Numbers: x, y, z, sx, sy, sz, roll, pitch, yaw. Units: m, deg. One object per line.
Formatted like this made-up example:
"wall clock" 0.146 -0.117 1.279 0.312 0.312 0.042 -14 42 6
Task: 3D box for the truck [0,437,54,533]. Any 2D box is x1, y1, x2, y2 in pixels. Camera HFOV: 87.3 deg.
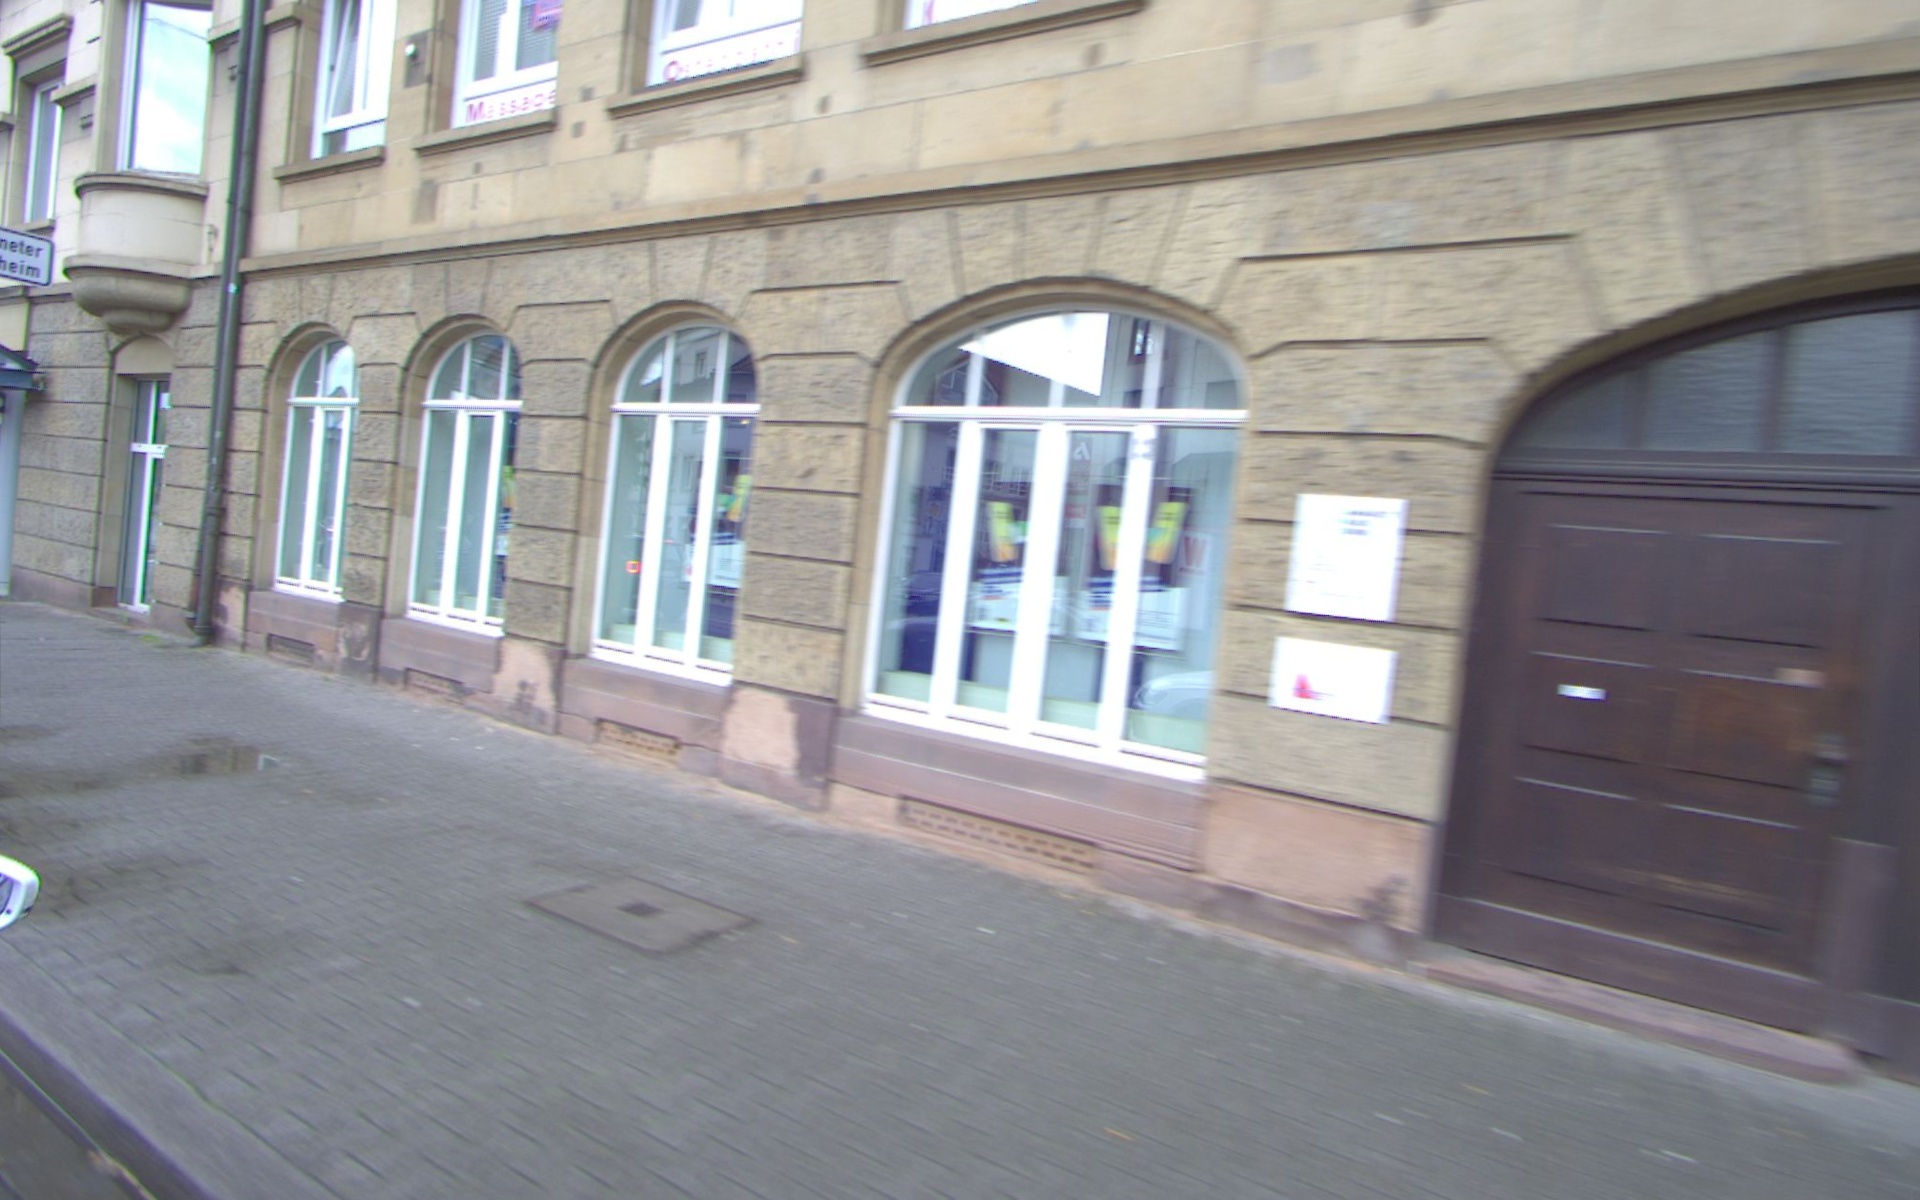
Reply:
"truck" -32.504 -3.950 30.495 2.047 2.887 7.100 6 0 30
